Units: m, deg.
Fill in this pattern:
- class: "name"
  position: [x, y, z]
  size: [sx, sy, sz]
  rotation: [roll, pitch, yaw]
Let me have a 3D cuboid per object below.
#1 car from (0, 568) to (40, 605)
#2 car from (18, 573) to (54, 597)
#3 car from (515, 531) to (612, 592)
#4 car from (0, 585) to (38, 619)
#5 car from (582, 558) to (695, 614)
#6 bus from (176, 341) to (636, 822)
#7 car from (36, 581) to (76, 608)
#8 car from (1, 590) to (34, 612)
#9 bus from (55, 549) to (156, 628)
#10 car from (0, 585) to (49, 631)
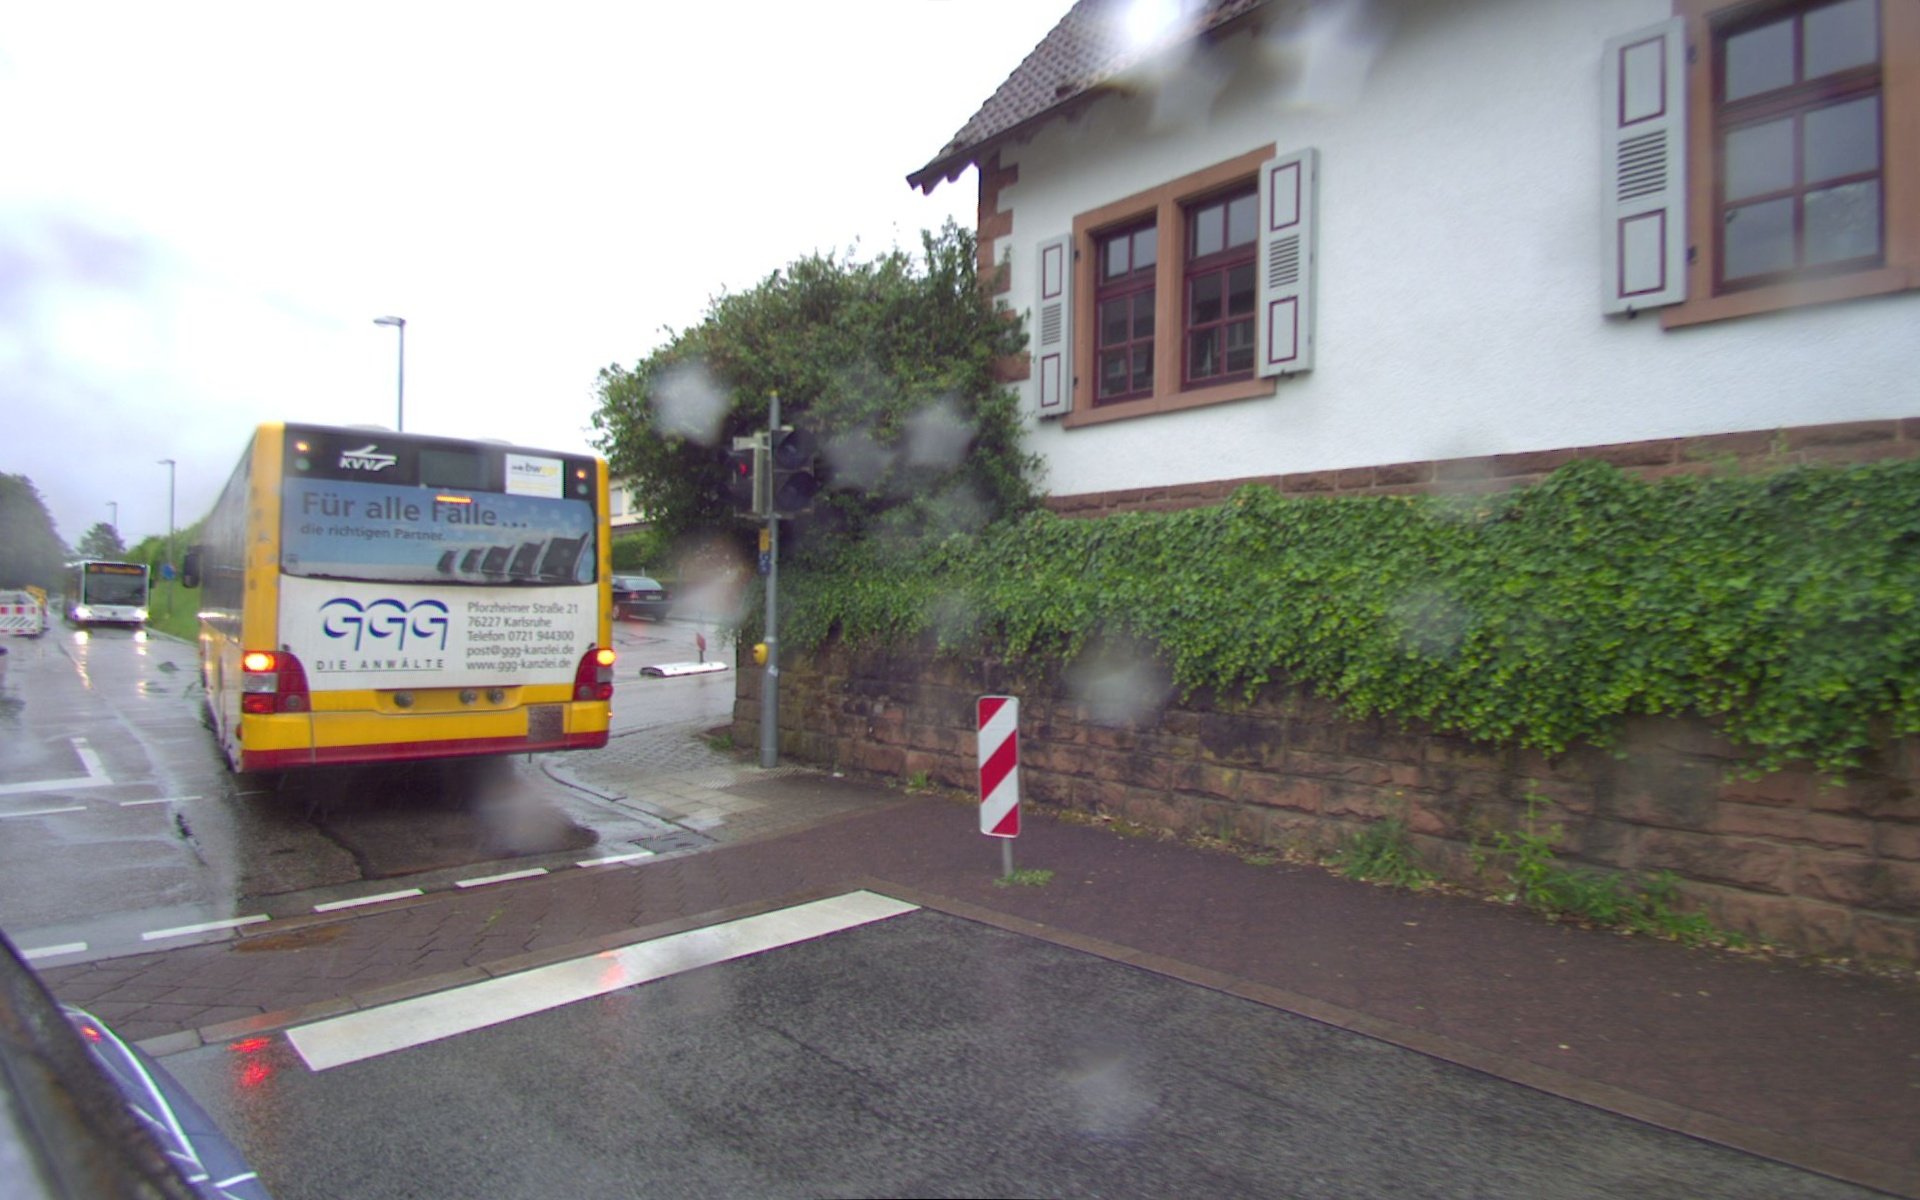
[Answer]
- class: "car"
  position: [-47.131, -0.673, 50.511]
  size: [1.754, 1.811, 4.192]
  rotation: [0, 0, -43]
- class: "car"
  position: [-63.571, -1.018, 69.619]
  size: [1.754, 1.623, 4.192]
  rotation: [0, 0, -43]
- class: "car"
  position: [-14.871, -1.392, 37.861]
  size: [1.970, 2.078, 4.192]
  rotation: [-1, 0, -43]
- class: "car"
  position: [-52.173, 0.072, 55.920]
  size: [1.754, 1.811, 4.192]
  rotation: [0, 0, -43]
- class: "car"
  position: [-10.744, -0.435, 33.664]
  size: [1.970, 1.728, 4.192]
  rotation: [1, 0, -43]
- class: "bus"
  position: [-7.325, -0.094, 11.797]
  size: [2.770, 2.961, 11.965]
  rotation: [0, 0, -38]
- class: "car"
  position: [-55.896, -0.351, 62.577]
  size: [1.754, 1.623, 4.192]
  rotation: [0, 1, -43]
- class: "car"
  position: [-70.676, 0.069, 75.924]
  size: [1.754, 1.623, 4.192]
  rotation: [0, 0, -43]
- class: "bus"
  position: [-42.699, -0.498, 50.510]
  size: [3.389, 3.437, 13.891]
  rotation: [2, -1, -41]
- class: "car"
  position: [-38.724, 0.295, 41.664]
  size: [1.754, 1.811, 4.192]
  rotation: [0, 0, -43]
